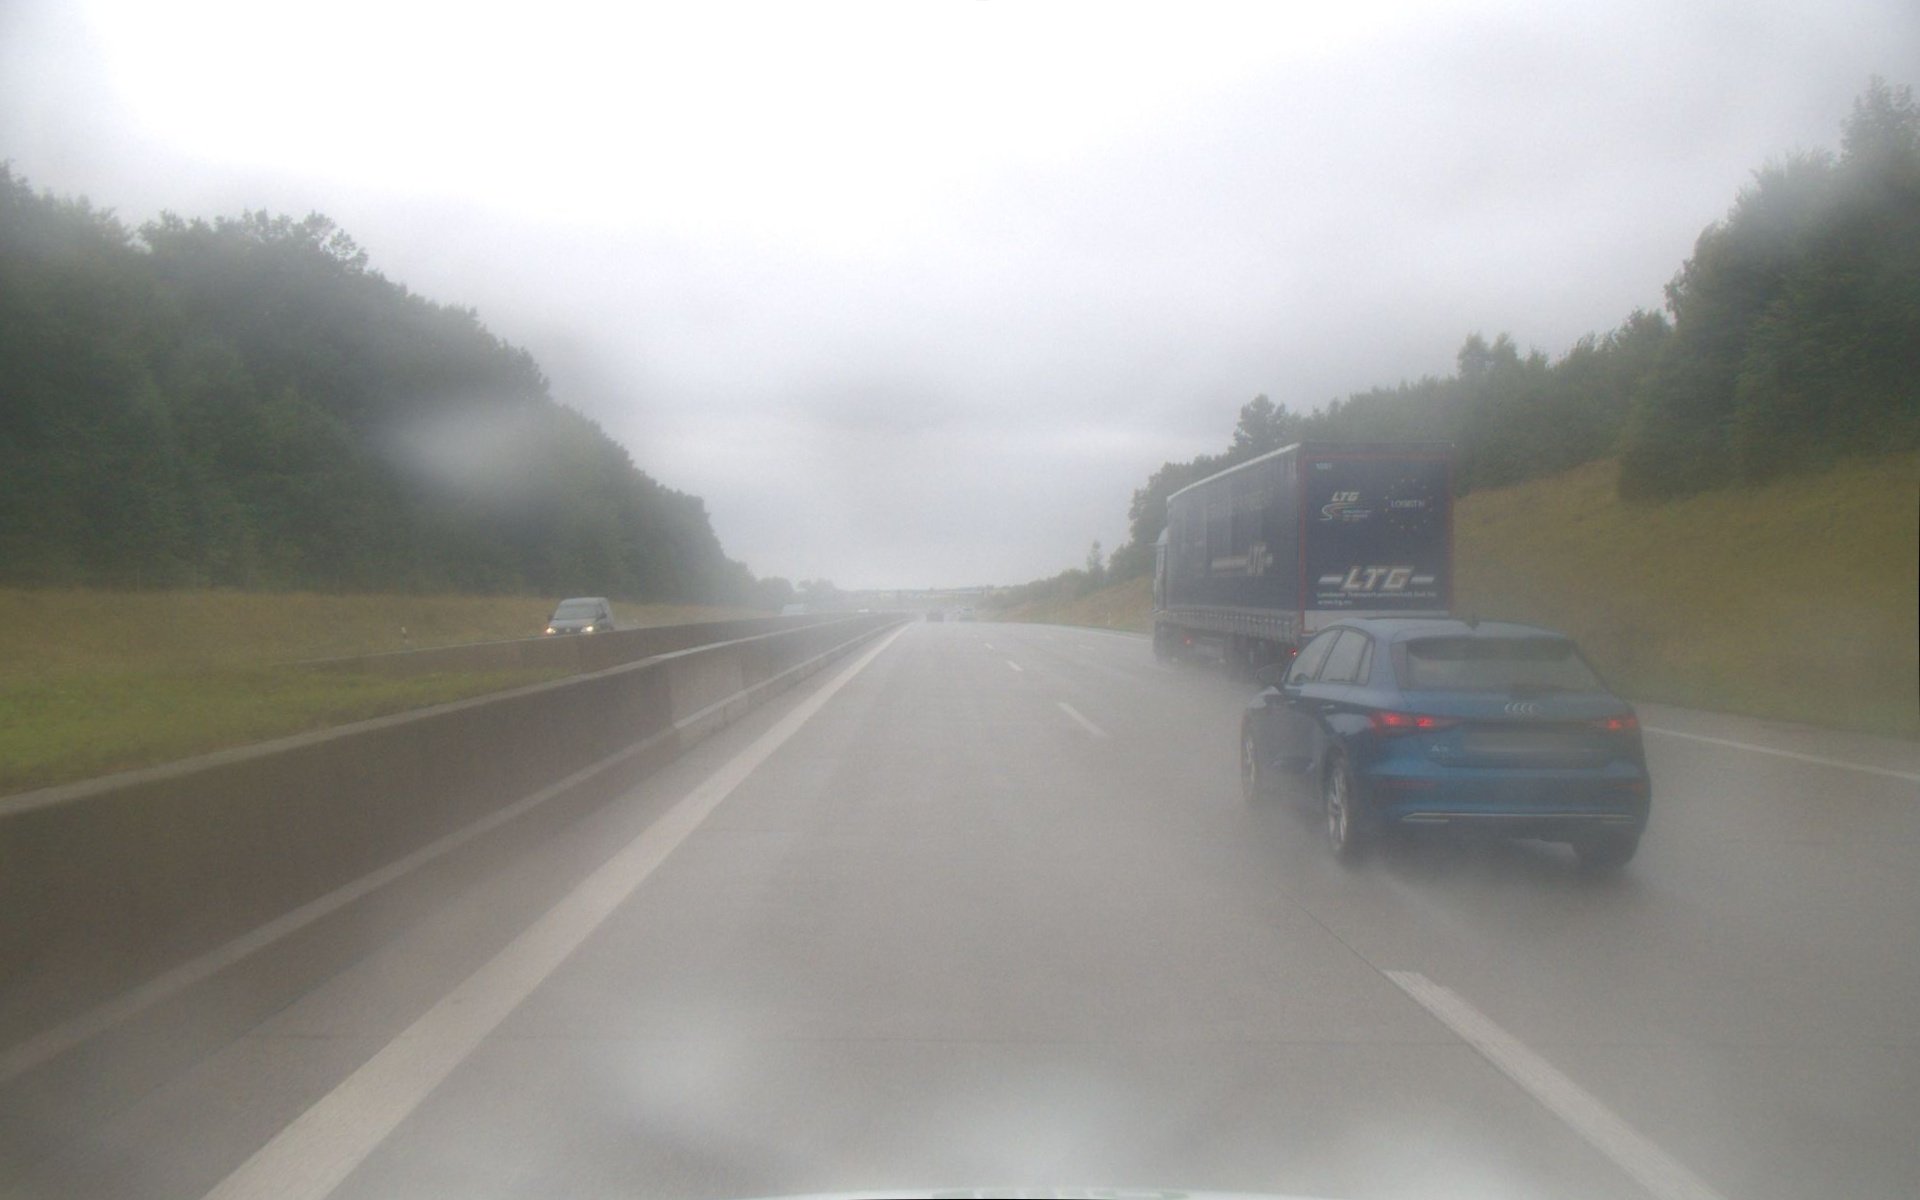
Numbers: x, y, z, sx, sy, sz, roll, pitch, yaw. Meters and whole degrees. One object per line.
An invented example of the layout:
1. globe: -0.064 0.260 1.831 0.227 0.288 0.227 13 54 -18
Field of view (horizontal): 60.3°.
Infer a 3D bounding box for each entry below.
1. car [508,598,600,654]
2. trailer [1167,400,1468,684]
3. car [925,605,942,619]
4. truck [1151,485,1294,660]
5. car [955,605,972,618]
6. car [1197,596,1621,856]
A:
1. car: -13.191 0.818 54.024 1.841 1.694 4.687 -1 0 0
2. trailer: 6.625 -0.890 33.815 2.651 4.456 15.201 1 0 -1
3. car: -2.641 1.219 166.183 1.694 1.354 4.429 0 0 -1
4. truck: 6.430 -0.628 41.295 2.582 4.023 5.685 1 0 0
5. car: 0.370 1.262 182.569 1.810 1.354 4.429 0 0 -1
6. car: 2.939 0.767 11.925 1.694 1.484 4.671 -1 -1 -1
